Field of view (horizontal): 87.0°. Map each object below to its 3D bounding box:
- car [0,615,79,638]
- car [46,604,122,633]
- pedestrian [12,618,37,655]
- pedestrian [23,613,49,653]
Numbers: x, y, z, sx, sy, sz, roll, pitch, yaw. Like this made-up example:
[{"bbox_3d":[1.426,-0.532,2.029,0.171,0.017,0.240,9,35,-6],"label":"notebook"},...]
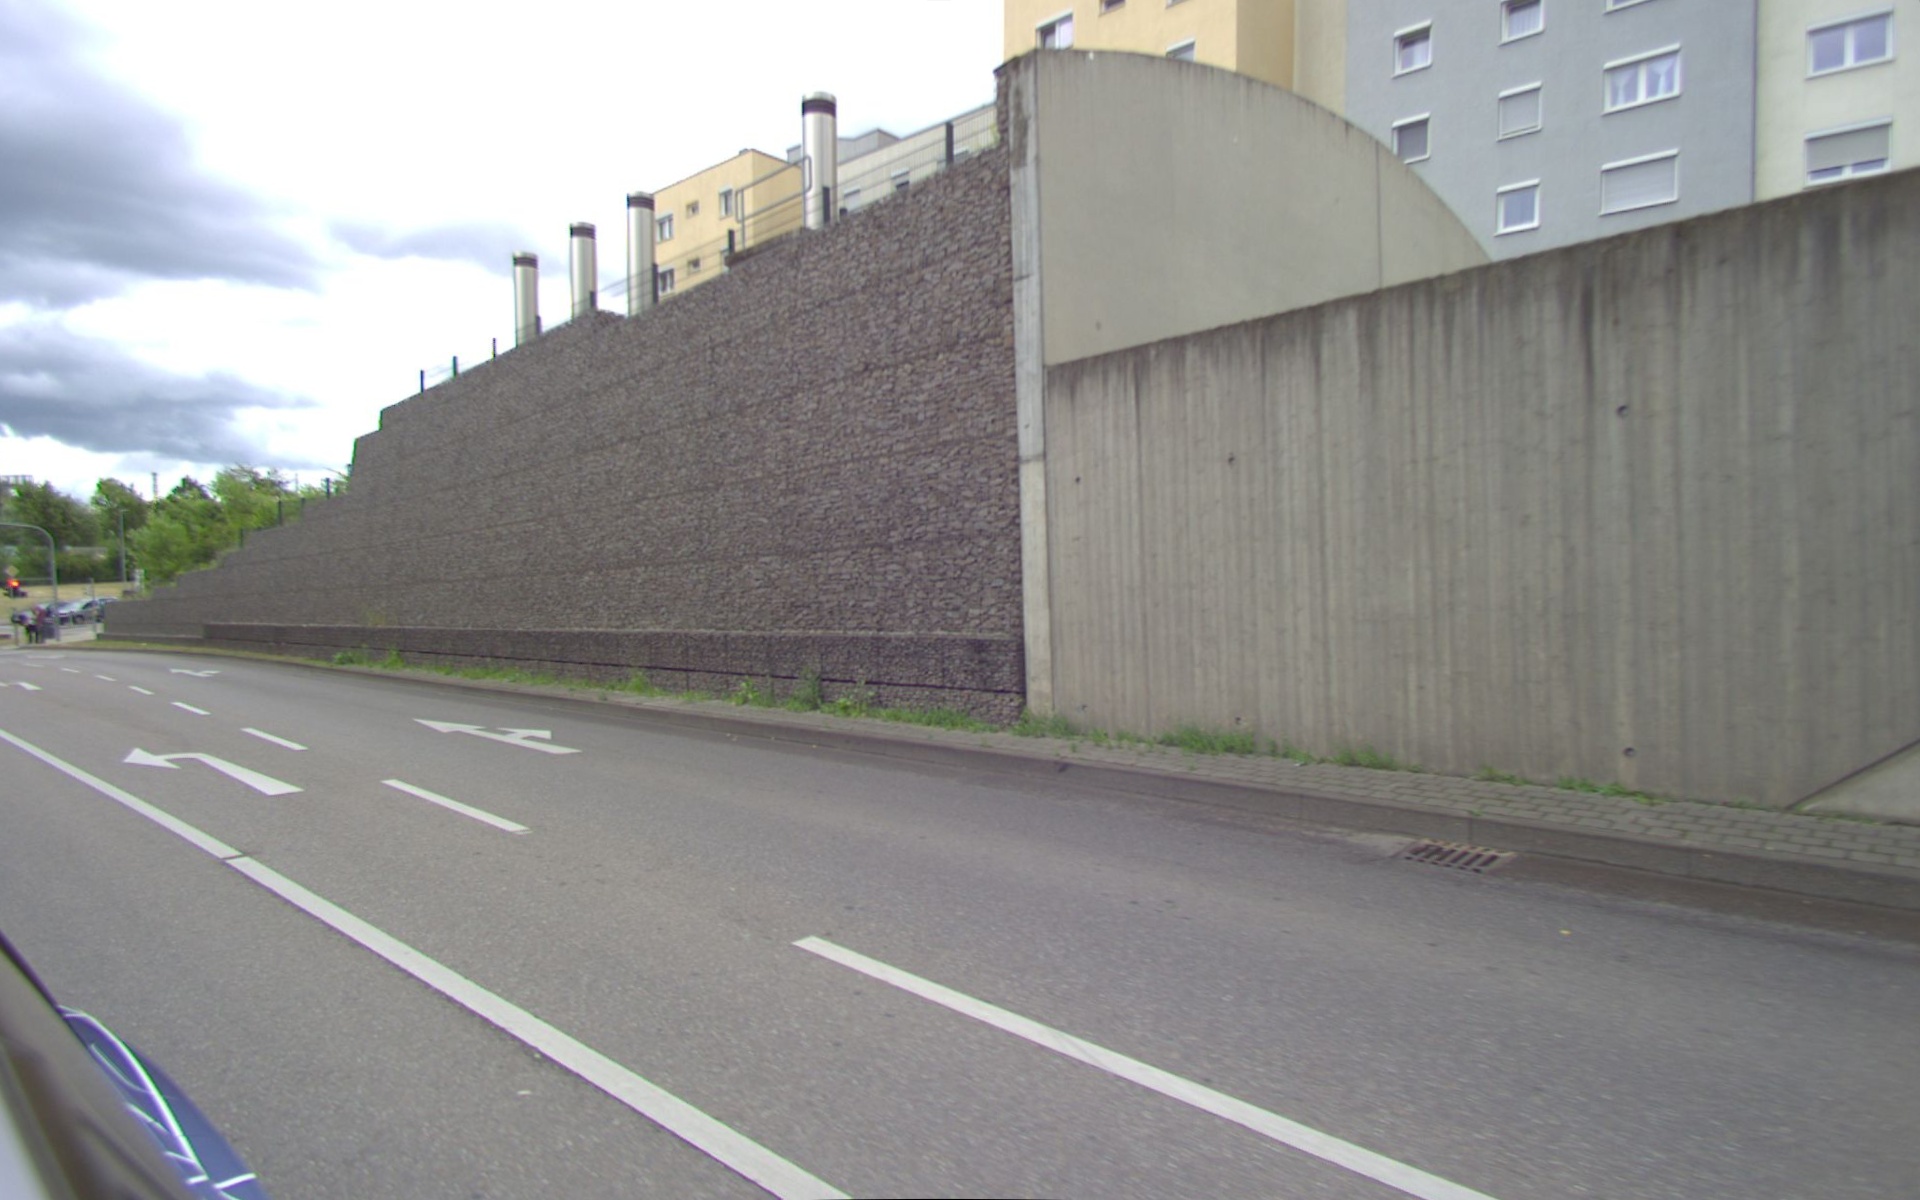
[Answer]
[{"bbox_3d":[-68.983,1.956,75.754,2.085,1.563,4.254,-2,0,7],"label":"car"},{"bbox_3d":[-64.654,1.360,74.788,1.736,1.741,4.262,-3,3,1],"label":"car"},{"bbox_3d":[-44.701,1.753,48.379,0.654,1.691,0.626,-4,3,-31],"label":"pedestrian"},{"bbox_3d":[-44.045,1.572,48.231,0.663,1.840,0.618,-1,3,30],"label":"pedestrian"}]
